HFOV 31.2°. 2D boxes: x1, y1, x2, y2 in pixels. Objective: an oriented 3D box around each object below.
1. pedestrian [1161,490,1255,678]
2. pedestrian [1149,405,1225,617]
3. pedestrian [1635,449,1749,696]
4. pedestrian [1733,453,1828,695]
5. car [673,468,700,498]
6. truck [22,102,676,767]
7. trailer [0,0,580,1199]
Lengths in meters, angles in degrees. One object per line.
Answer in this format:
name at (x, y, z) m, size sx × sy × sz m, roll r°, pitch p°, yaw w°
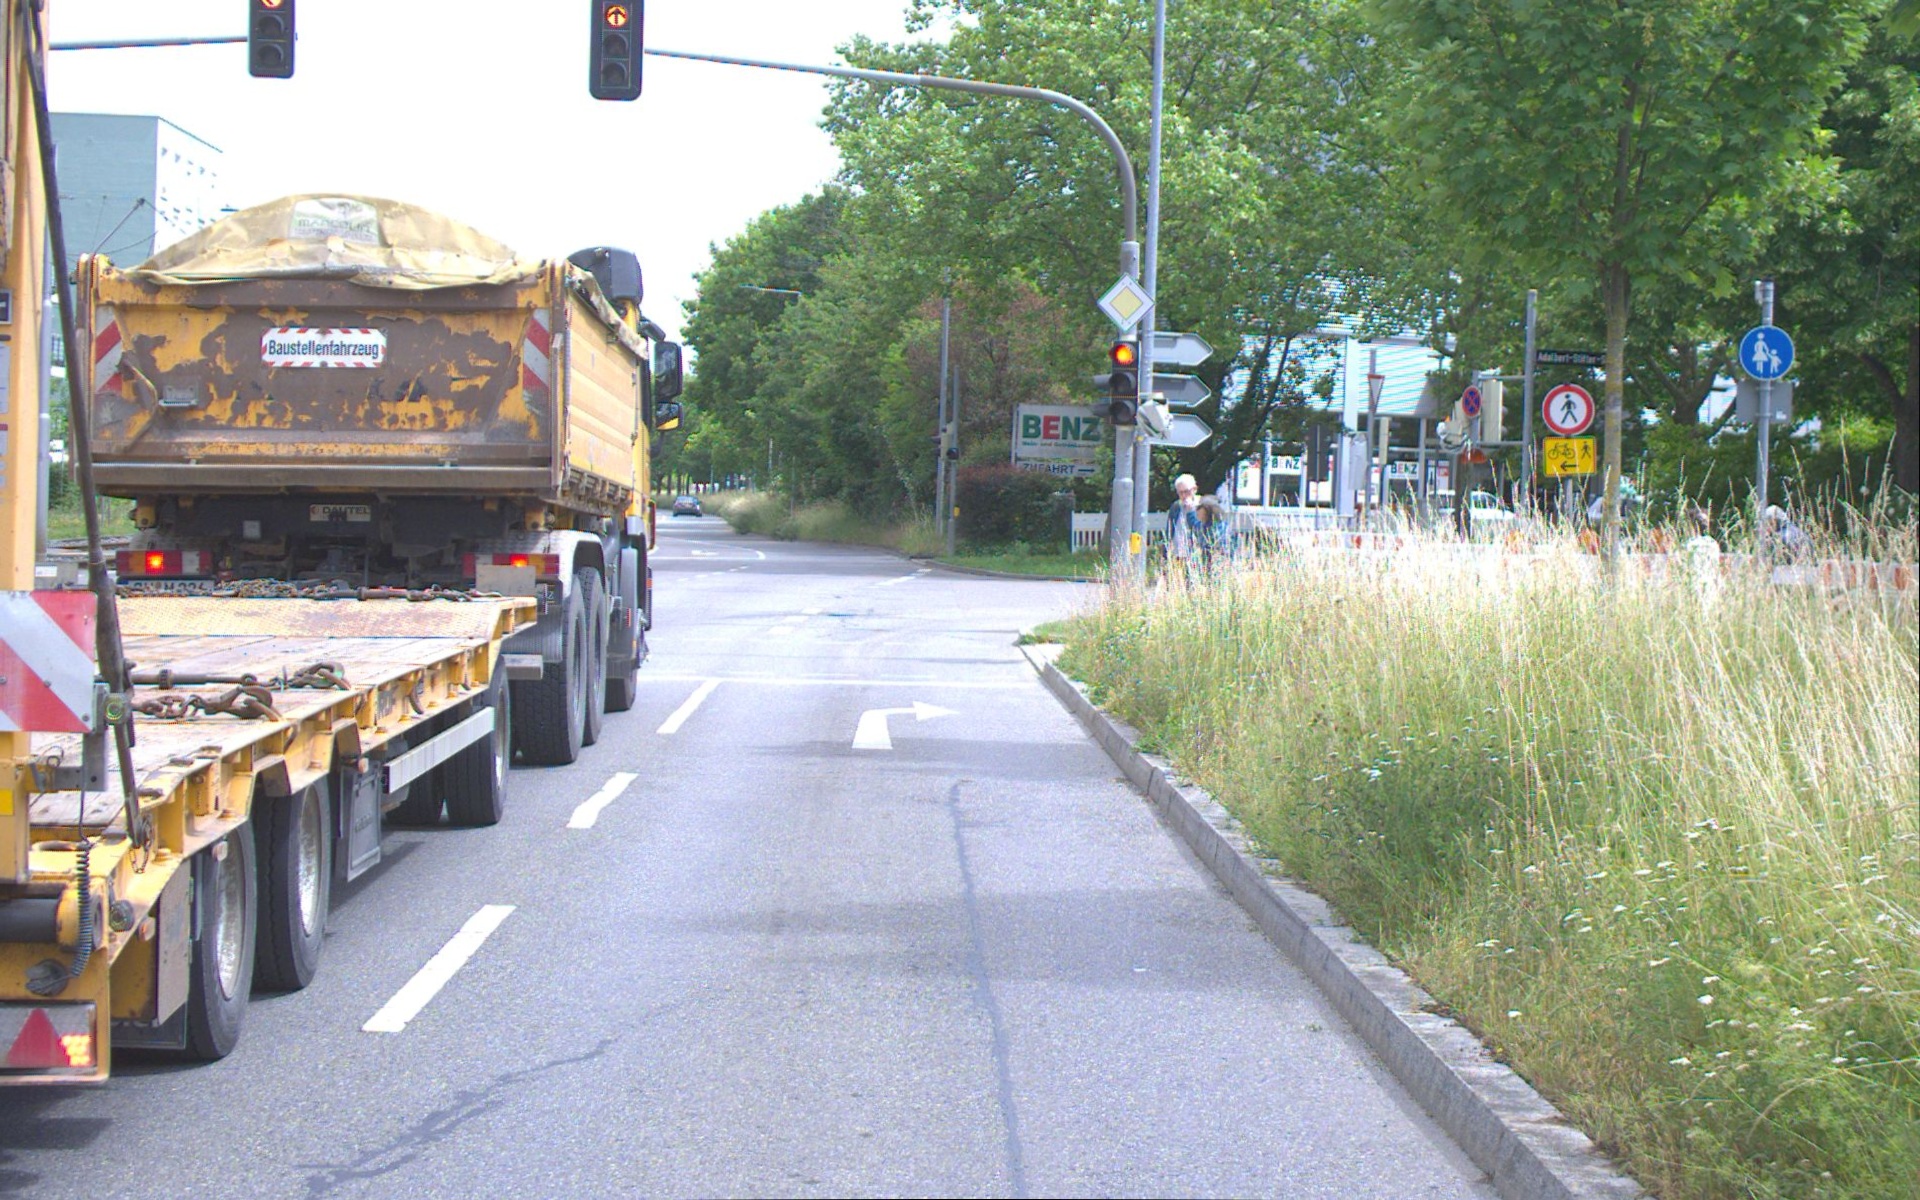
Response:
pedestrian at (2.223, -0.148, 30.810) m, size 0.628 × 1.647 × 0.562 m, roll 2°, pitch 1°, yaw 25°
pedestrian at (2.183, -0.853, 33.080) m, size 0.561 × 2.007 × 0.492 m, roll 2°, pitch 1°, yaw -10°
pedestrian at (6.067, -0.233, 28.511) m, size 0.671 × 2.007 × 0.635 m, roll 2°, pitch 1°, yaw -10°
pedestrian at (6.918, -0.219, 28.998) m, size 0.561 × 2.007 × 0.492 m, roll 2°, pitch 1°, yaw -10°
car at (-18.237, -7.810, 228.988) m, size 1.689 × 1.919 × 4.001 m, roll 2°, pitch 2°, yaw -6°
truck at (-3.471, -0.963, 21.758) m, size 2.753 × 3.302 × 8.353 m, roll 2°, pitch 2°, yaw -1°
trailer at (-3.245, -0.818, 11.951) m, size 2.729 × 3.546 × 11.255 m, roll 2°, pitch 2°, yaw -1°
